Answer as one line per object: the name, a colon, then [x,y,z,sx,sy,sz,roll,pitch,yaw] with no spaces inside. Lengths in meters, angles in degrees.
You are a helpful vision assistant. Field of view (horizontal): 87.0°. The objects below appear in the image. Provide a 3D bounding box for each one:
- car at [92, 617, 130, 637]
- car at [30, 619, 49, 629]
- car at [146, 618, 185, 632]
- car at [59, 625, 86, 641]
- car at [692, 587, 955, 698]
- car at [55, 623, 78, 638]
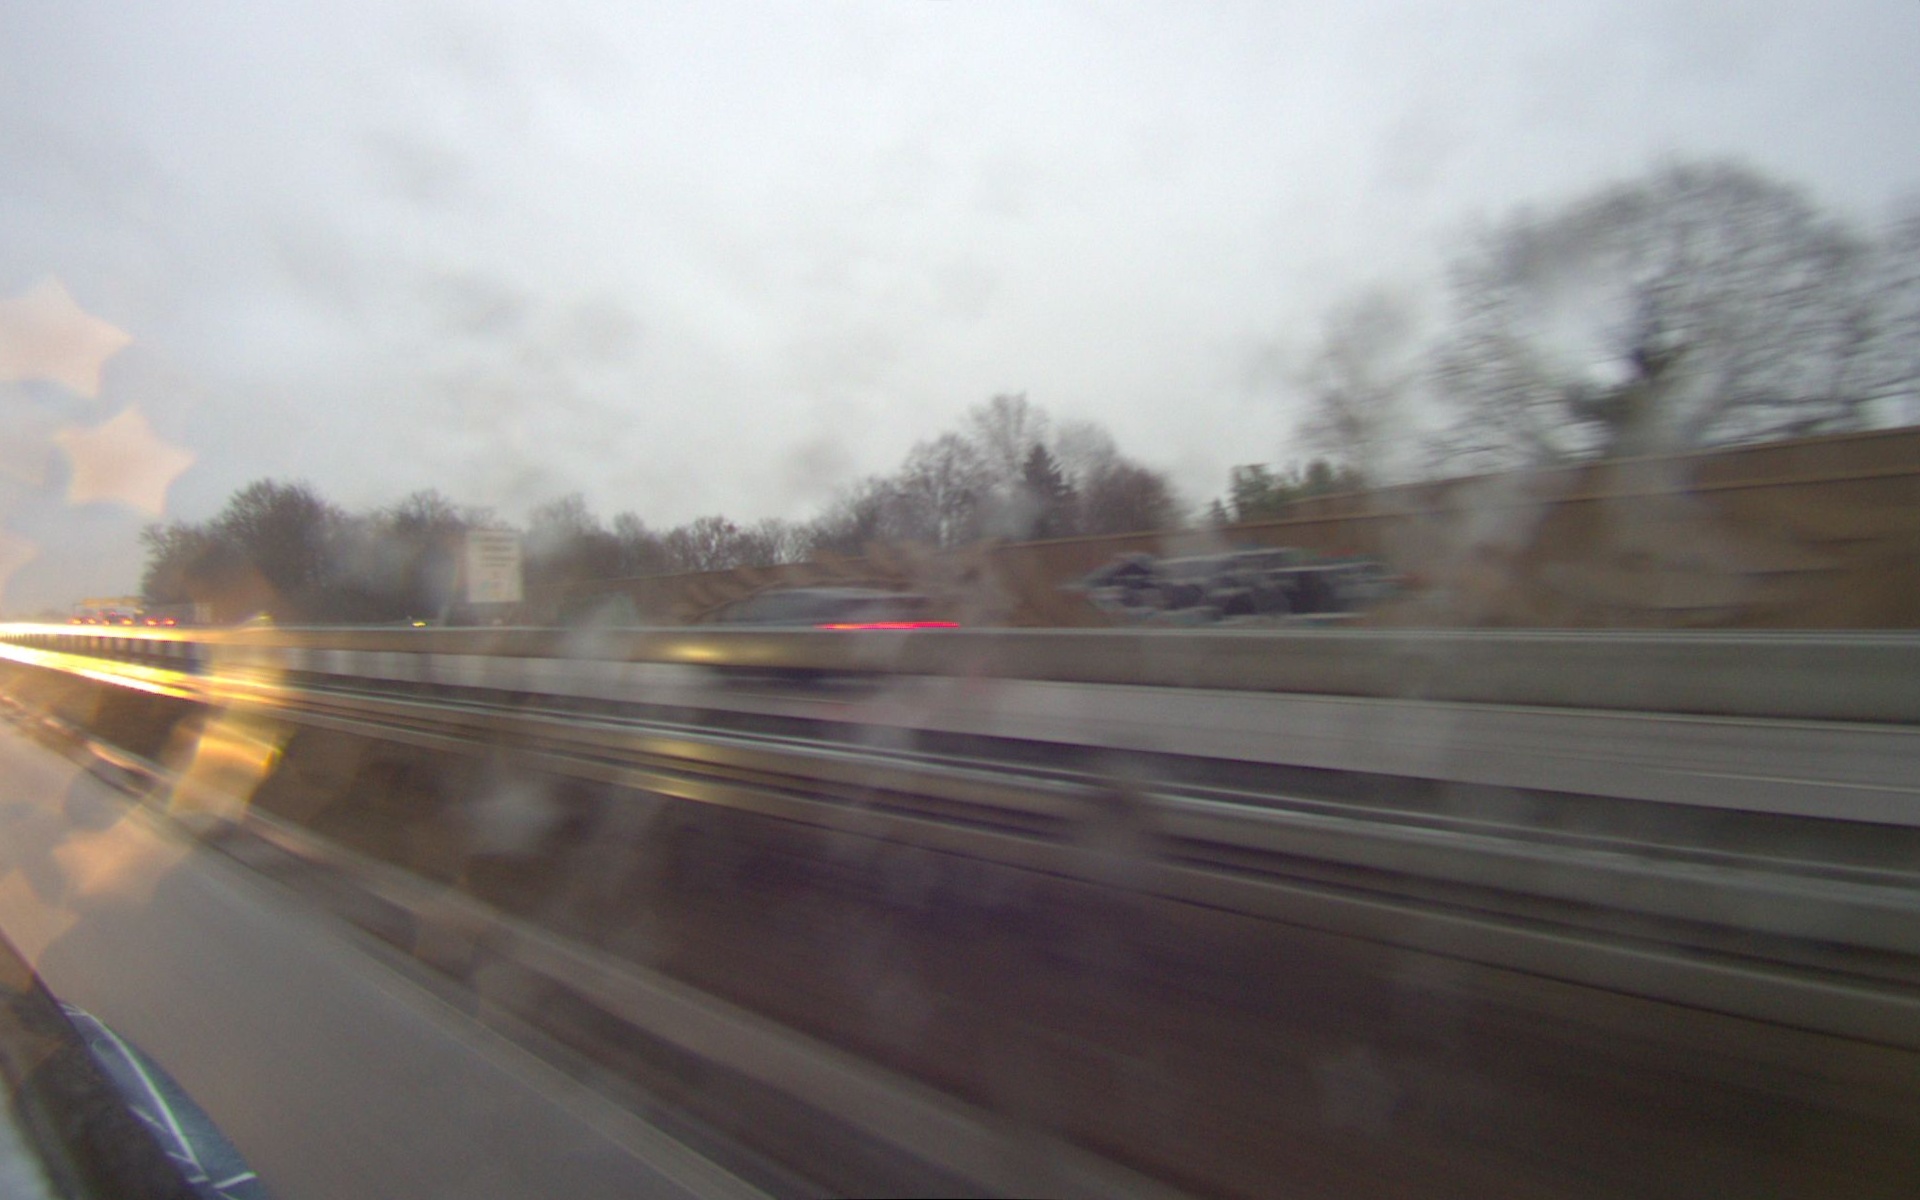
car: [-63.415,2.001,75.577,3.681,1.452,1.678,-1,0,43]
car: [-136.552,3.526,150.043,4.648,1.460,1.845,-1,0,45]
car: [-70.000,2.234,89.110,3.994,1.170,1.780,-1,0,37]
car: [-94.897,3.517,108.177,4.781,1.639,1.845,-1,0,45]
car: [-2.308,0.620,16.418,4.353,1.567,1.818,-1,0,41]
car: [-108.276,3.668,122.620,4.648,1.639,1.845,-1,0,45]
